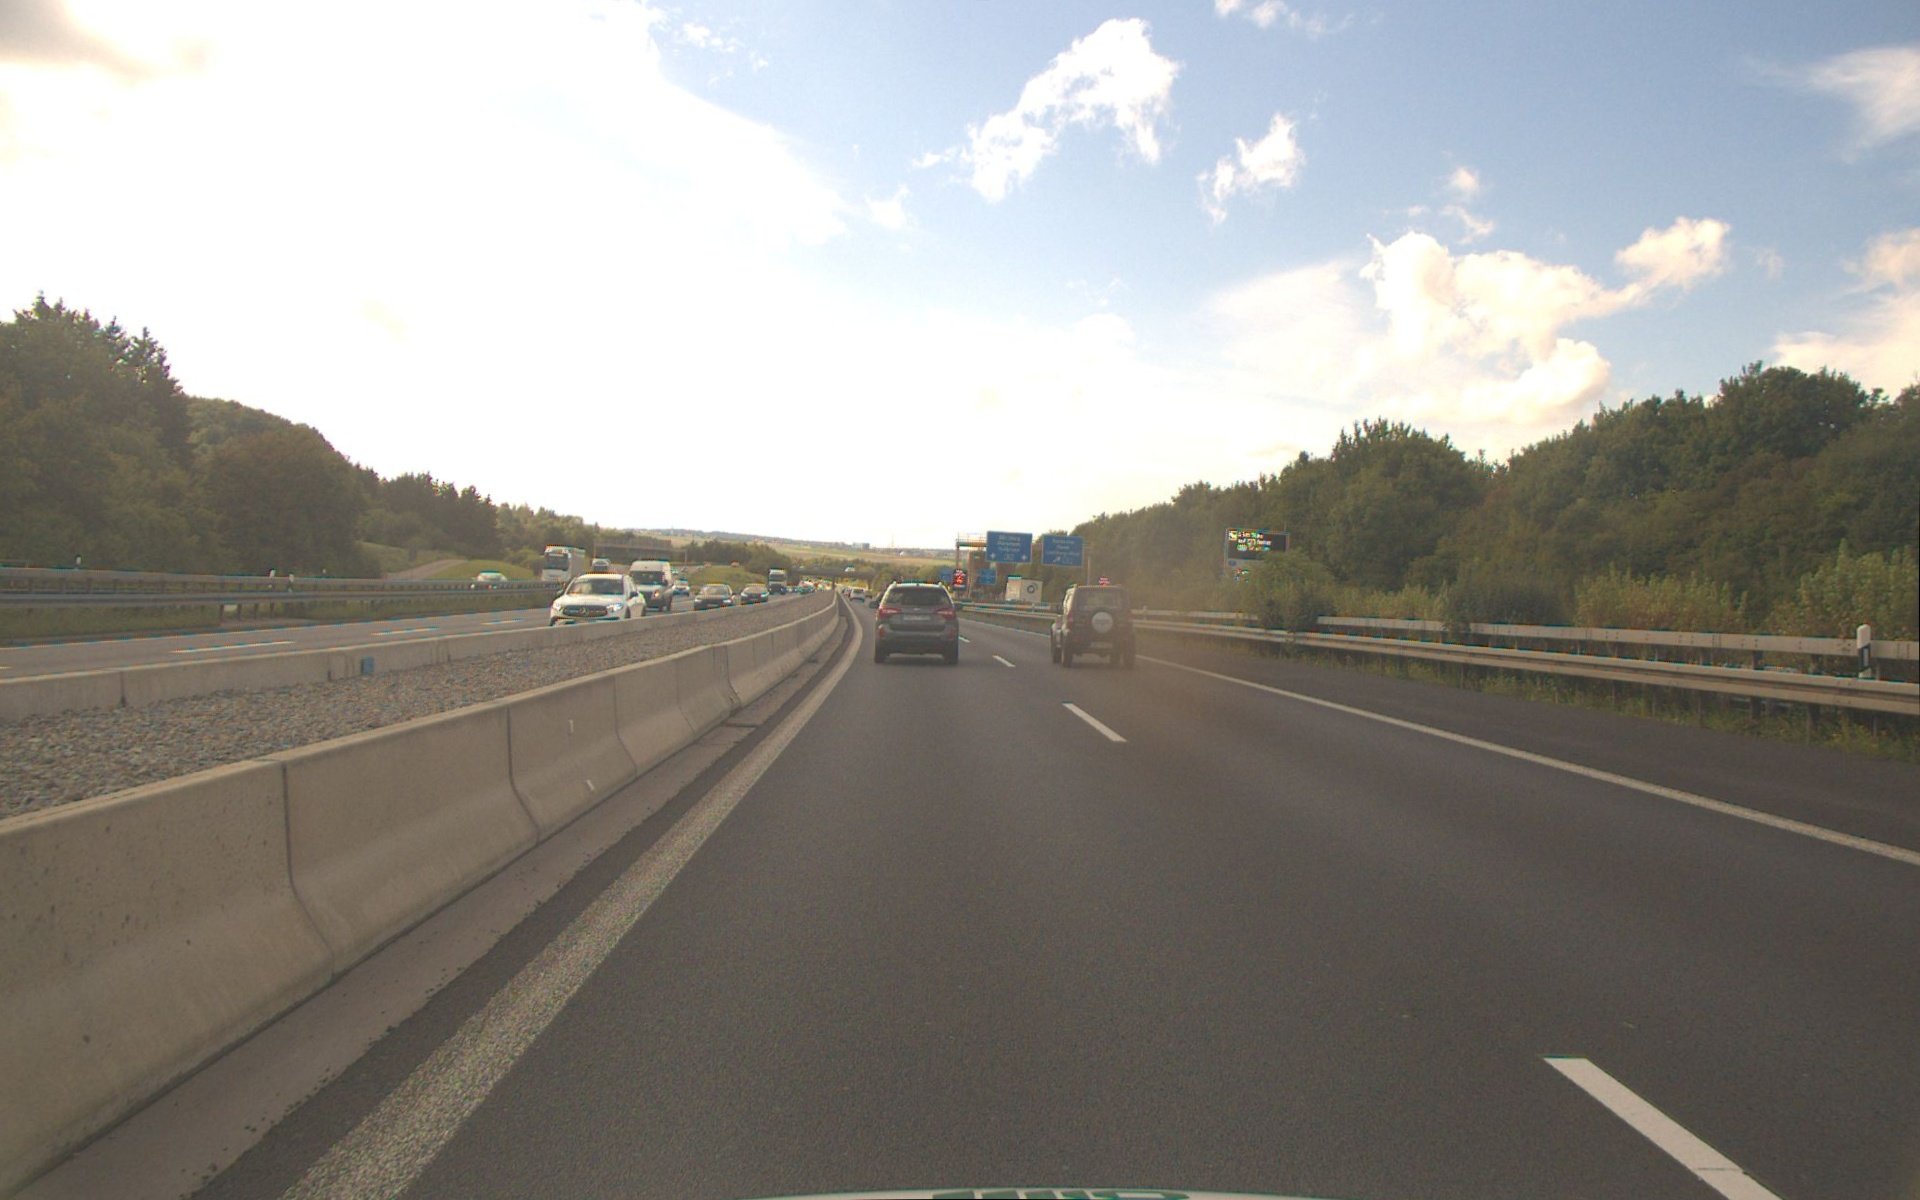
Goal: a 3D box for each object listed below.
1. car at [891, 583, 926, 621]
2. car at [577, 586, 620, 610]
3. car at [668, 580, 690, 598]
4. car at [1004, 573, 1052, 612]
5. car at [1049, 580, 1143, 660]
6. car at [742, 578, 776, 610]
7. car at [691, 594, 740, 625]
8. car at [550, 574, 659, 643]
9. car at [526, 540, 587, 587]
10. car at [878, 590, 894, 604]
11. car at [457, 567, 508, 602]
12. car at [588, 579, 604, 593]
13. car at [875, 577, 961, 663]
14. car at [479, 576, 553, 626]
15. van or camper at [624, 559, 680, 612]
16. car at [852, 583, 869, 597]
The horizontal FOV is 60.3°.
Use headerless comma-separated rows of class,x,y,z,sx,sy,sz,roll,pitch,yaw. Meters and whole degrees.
car,-3.079,0.125,99.212,1.989,2.189,3.999,1,0,-1
car,-20.839,-0.134,95.386,1.594,1.316,4.752,1,0,-3
car,-29.613,-1.191,174.255,1.955,1.822,4.267,1,0,-6
car,7.963,-0.914,195.538,4.634,4.340,11.398,2,0,-3
car,2.940,0.404,36.422,1.555,1.625,4.094,1,0,-2
car,-13.761,-0.418,113.275,1.954,2.049,4.270,2,0,-3
car,-11.976,0.449,81.362,1.886,1.460,4.775,1,0,-3
car,-9.077,0.207,42.644,1.805,1.639,5.134,1,0,-2
car,-38.689,-3.398,159.272,3.744,4.151,14.809,1,0,-6
car,-10.715,-0.453,240.490,1.956,1.963,3.993,2,-2,-7
car,-28.963,-0.941,100.510,1.954,2.049,4.270,2,0,-3
car,-54.702,-2.145,248.474,1.956,2.049,4.265,1,0,-8
car,-0.971,0.450,37.491,1.781,1.766,5.184,1,-1,-2
car,-16.090,0.024,60.108,1.691,1.729,4.150,1,0,-3
van or camper,-16.254,-0.765,87.645,1.947,2.670,6.859,1,0,-3
car,-13.026,-1.335,216.222,1.955,1.713,3.994,2,-1,-7
